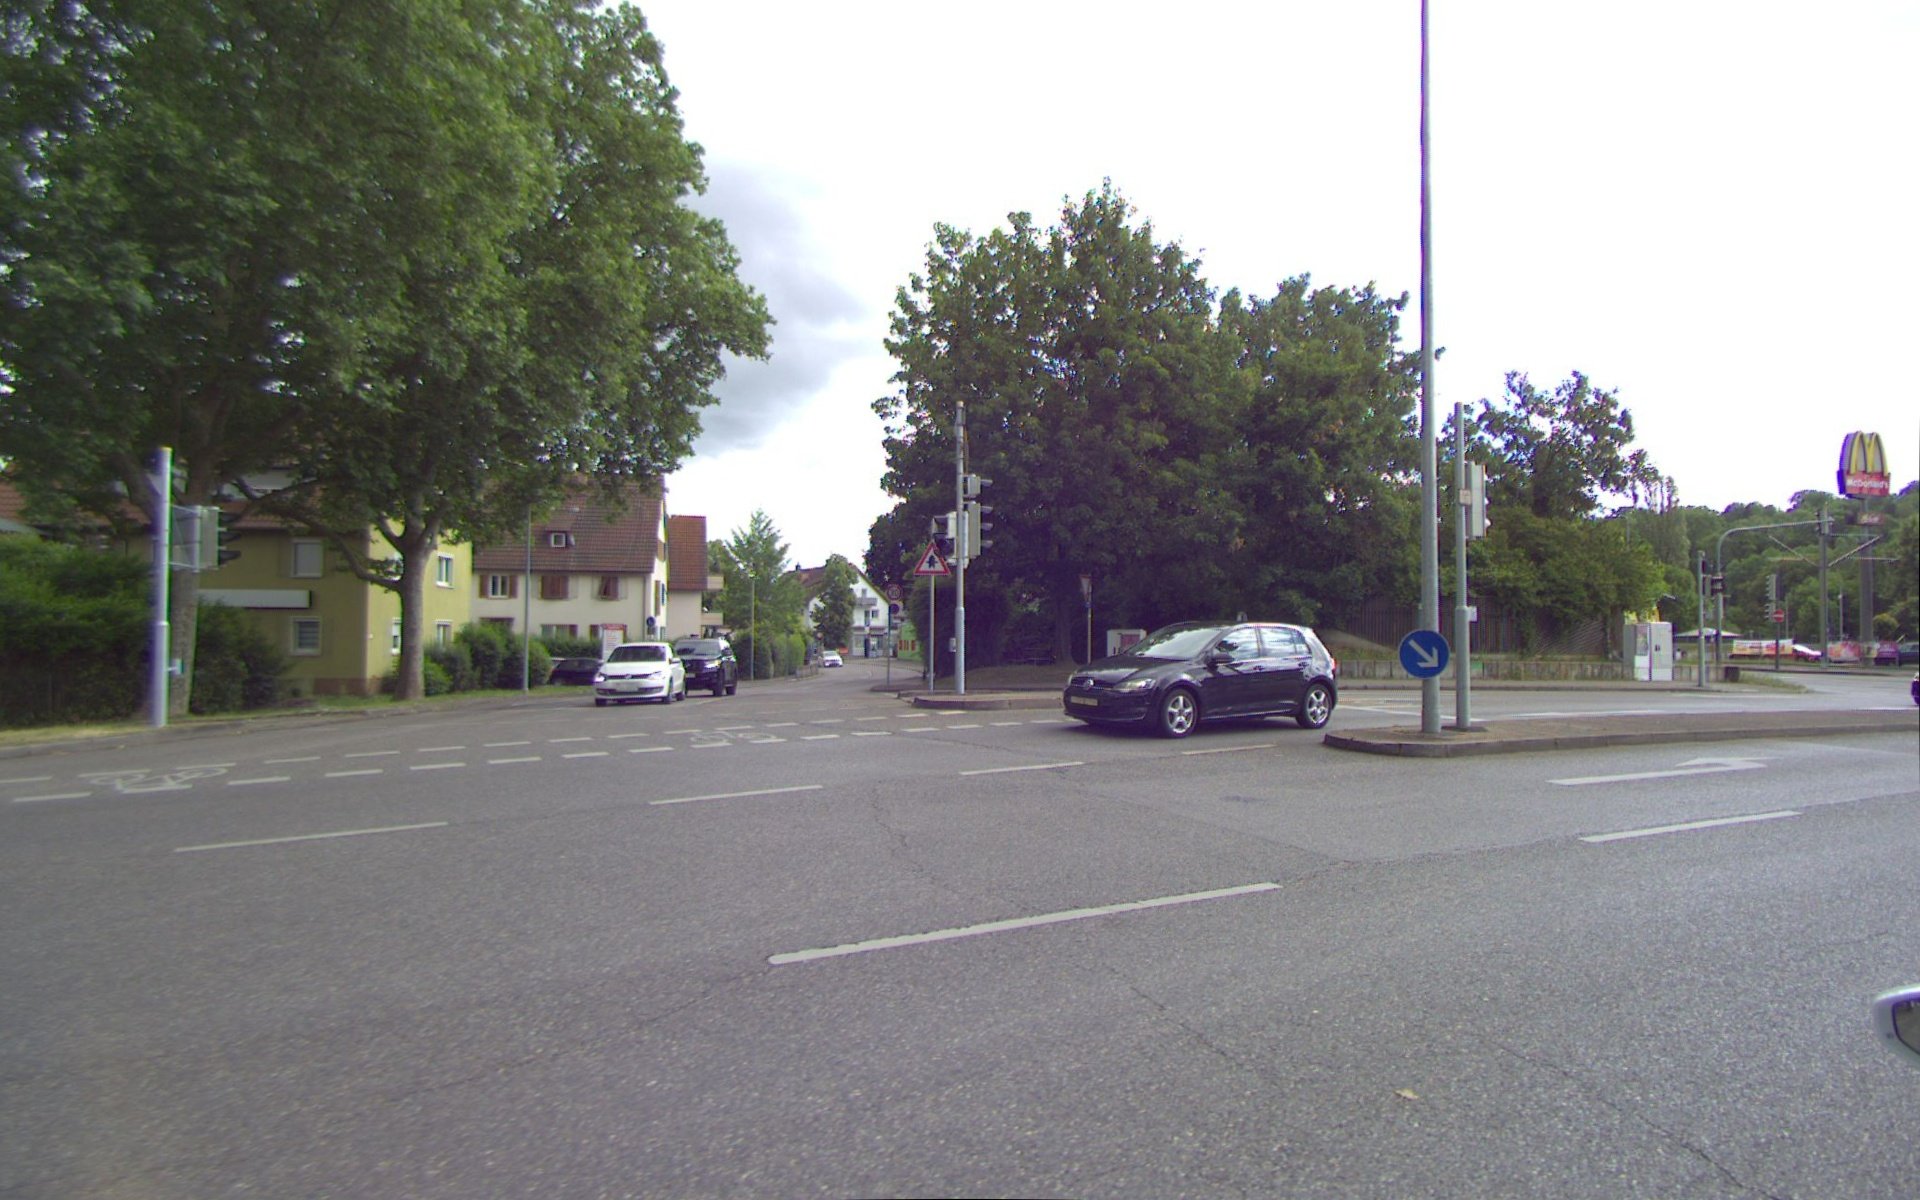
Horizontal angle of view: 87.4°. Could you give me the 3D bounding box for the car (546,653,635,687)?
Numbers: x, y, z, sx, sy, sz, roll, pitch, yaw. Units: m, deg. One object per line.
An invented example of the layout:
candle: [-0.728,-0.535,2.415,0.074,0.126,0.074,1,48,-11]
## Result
car: [-17.788,3.351,48.434,3.662,1.584,1.763,1,-2,-6]

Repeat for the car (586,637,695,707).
car: [-7.378,1.613,23.566,1.792,1.499,3.850,0,-2,-8]

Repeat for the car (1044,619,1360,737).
car: [3.353,0.979,13.658,4.262,1.384,1.669,2,-2,-31]

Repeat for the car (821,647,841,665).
car: [-12.511,5.439,97.335,1.732,1.637,3.756,1,-2,-11]

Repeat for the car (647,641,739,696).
car: [-8.182,2.107,31.155,1.962,1.566,4.269,1,-3,-4]

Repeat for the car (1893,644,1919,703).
car: [25.174,1.808,24.705,3.833,1.434,1.615,1,-2,-18]
